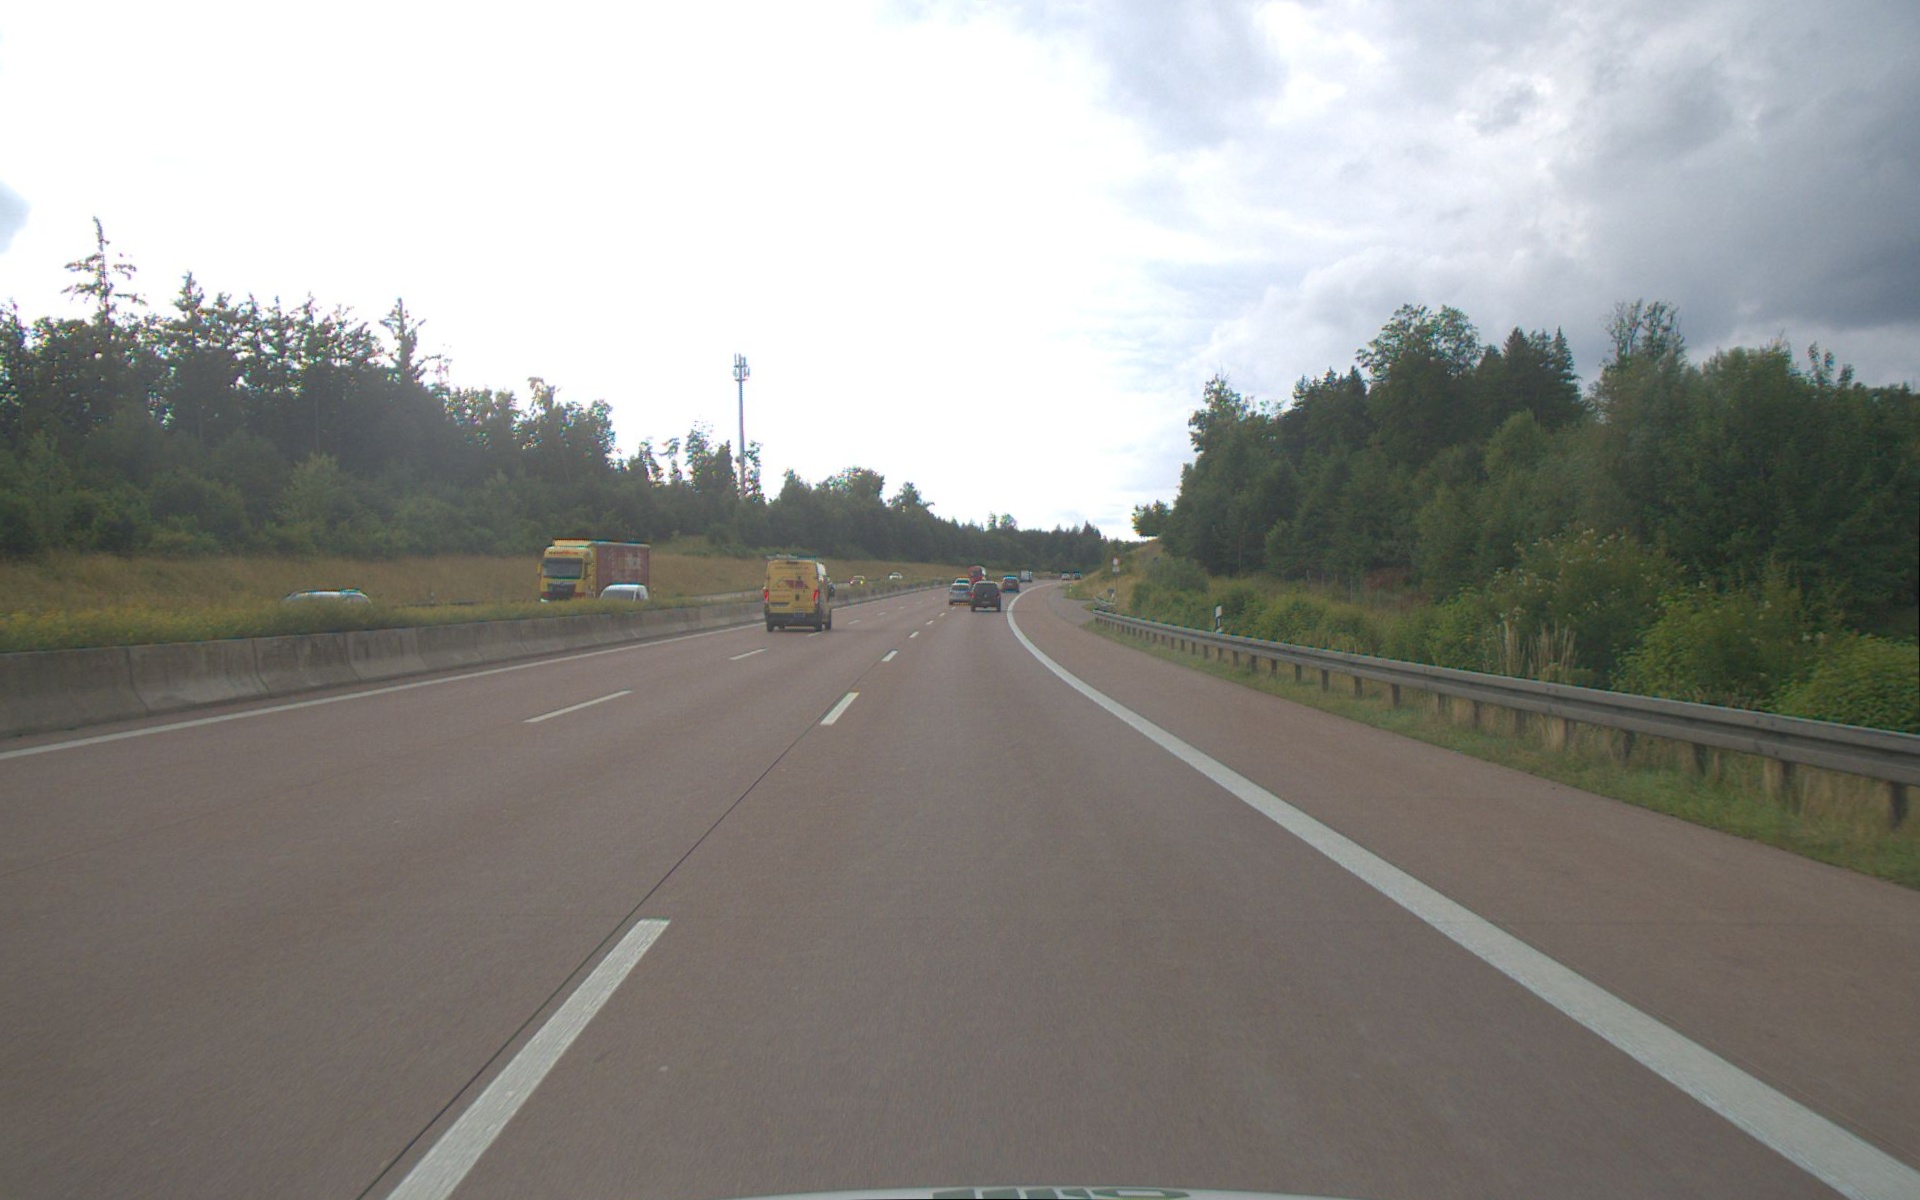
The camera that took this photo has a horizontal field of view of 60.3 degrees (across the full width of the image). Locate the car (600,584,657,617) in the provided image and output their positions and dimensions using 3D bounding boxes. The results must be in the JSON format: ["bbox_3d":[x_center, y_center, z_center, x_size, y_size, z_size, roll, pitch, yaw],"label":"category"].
[{"bbox_3d":[-14.690,0.013,73.423,1.705,1.427,4.031,0,0,0],"label":"car"}]

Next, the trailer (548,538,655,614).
[{"bbox_3d":[-21.256,-1.272,99.146,2.971,4.112,14.531,1,-1,1],"label":"trailer"}]

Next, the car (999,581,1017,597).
[{"bbox_3d":[5.261,-1.186,182.303,1.937,1.677,4.619,0,0,0],"label":"car"}]

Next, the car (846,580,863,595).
[{"bbox_3d":[-13.343,-1.574,210.221,1.769,1.847,4.001,0,1,2],"label":"car"}]

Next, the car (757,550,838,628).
[{"bbox_3d":[-5.974,-0.386,61.459,2.408,2.754,5.613,0,0,0],"label":"car"}]

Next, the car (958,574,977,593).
[{"bbox_3d":[1.045,-2.121,214.525,2.194,2.472,6.206,0,0,2],"label":"car"}]

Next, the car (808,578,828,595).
[{"bbox_3d":[-15.169,-1.420,176.316,1.726,1.667,4.380,1,-1,0],"label":"car"}]

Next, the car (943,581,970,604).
[{"bbox_3d":[-0.261,-0.533,123.382,1.937,1.677,4.618,0,0,-1],"label":"car"}]

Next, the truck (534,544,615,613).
[{"bbox_3d":[-21.364,-1.142,92.004,2.950,3.645,6.057,1,-1,1],"label":"truck"}]

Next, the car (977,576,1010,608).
[{"bbox_3d":[2.075,-0.464,103.512,2.002,1.930,5.577,0,0,0],"label":"car"}]
